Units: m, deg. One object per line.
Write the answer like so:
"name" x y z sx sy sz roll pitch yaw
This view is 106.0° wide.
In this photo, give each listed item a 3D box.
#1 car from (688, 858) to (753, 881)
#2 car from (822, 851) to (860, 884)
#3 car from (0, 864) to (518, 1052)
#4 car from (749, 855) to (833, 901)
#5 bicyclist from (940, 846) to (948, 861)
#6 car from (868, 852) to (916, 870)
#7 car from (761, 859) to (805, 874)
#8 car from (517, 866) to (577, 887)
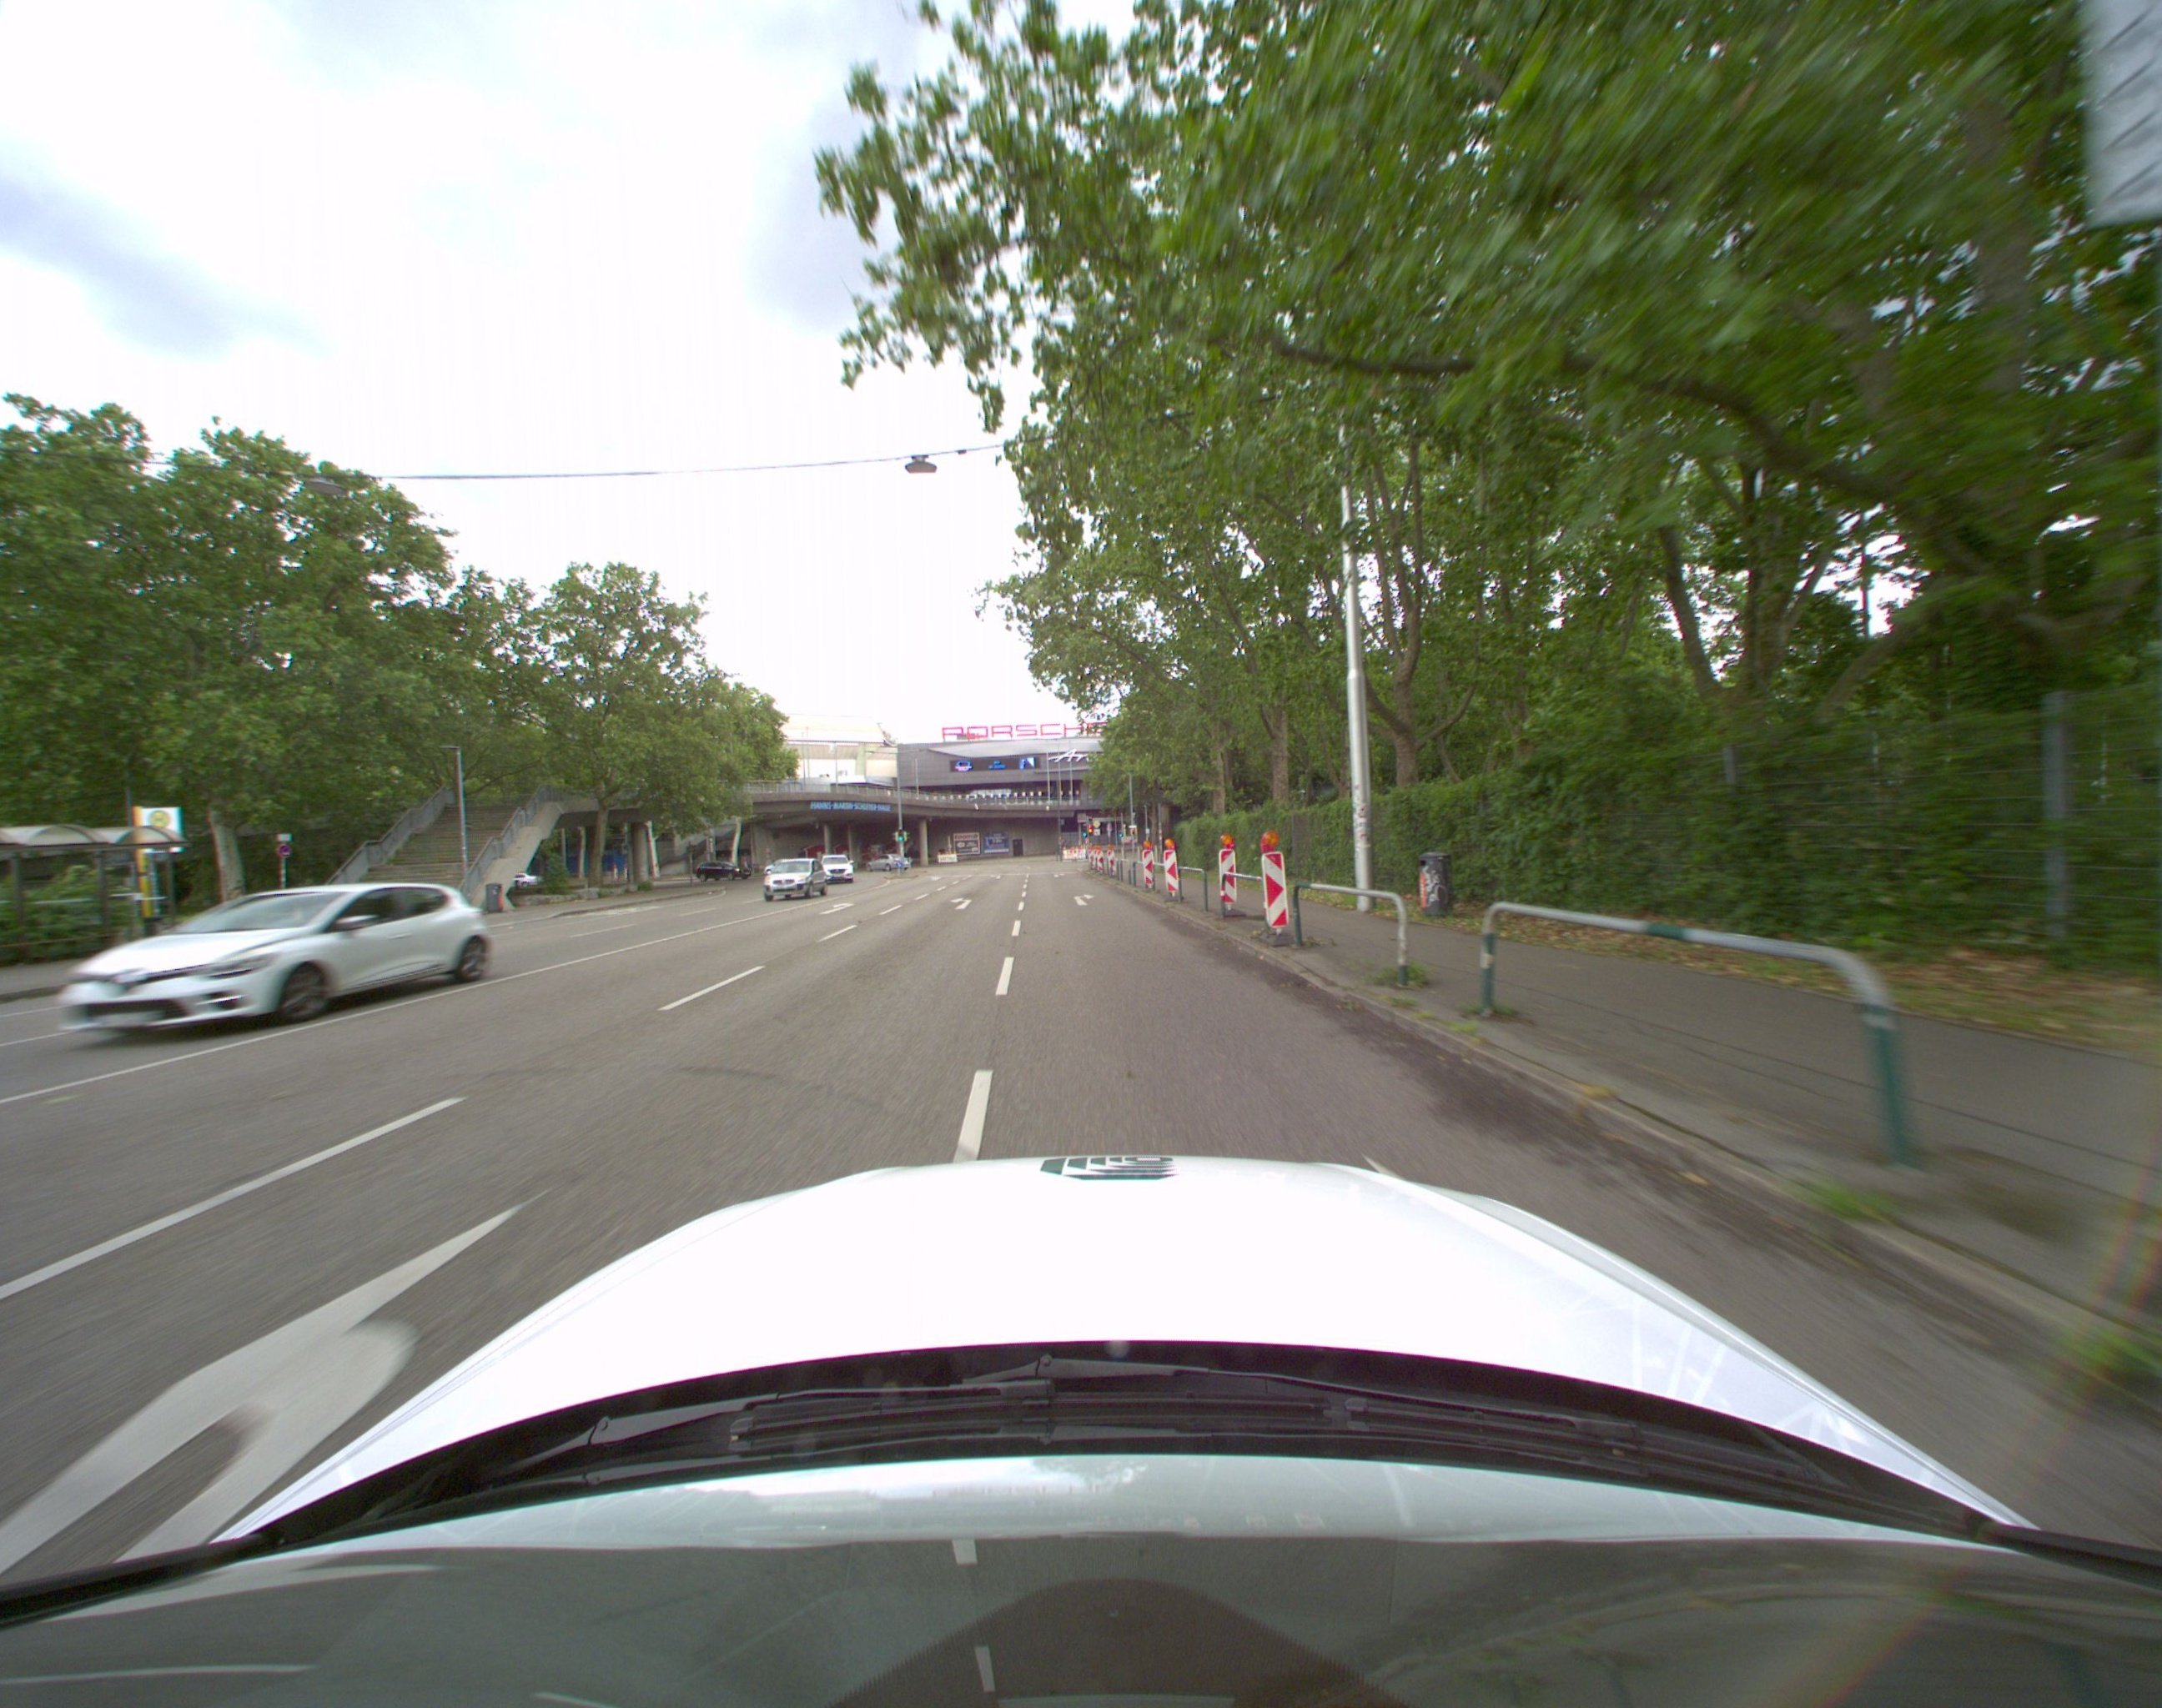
"car" -28.724 1.218 64.931 4.389 1.606 1.779 -2 0 7
"car" -14.009 0.759 47.730 1.998 1.744 4.570 -2 0 -16
"car" -9.197 0.987 9.779 1.990 1.530 4.378 -4 1 -5
"car" -11.181 0.874 31.685 1.990 1.525 3.994 -3 0 -4
"bicyclist" -15.654 -0.094 93.073 0.851 1.697 0.765 -1 0 -7
"car" -16.248 0.638 70.050 3.948 1.418 2.013 -2 0 39
"car" -27.576 1.151 75.429 3.361 1.313 1.621 -2 0 12
"car" -48.678 2.014 74.310 3.987 1.659 1.993 -2 0 -10
